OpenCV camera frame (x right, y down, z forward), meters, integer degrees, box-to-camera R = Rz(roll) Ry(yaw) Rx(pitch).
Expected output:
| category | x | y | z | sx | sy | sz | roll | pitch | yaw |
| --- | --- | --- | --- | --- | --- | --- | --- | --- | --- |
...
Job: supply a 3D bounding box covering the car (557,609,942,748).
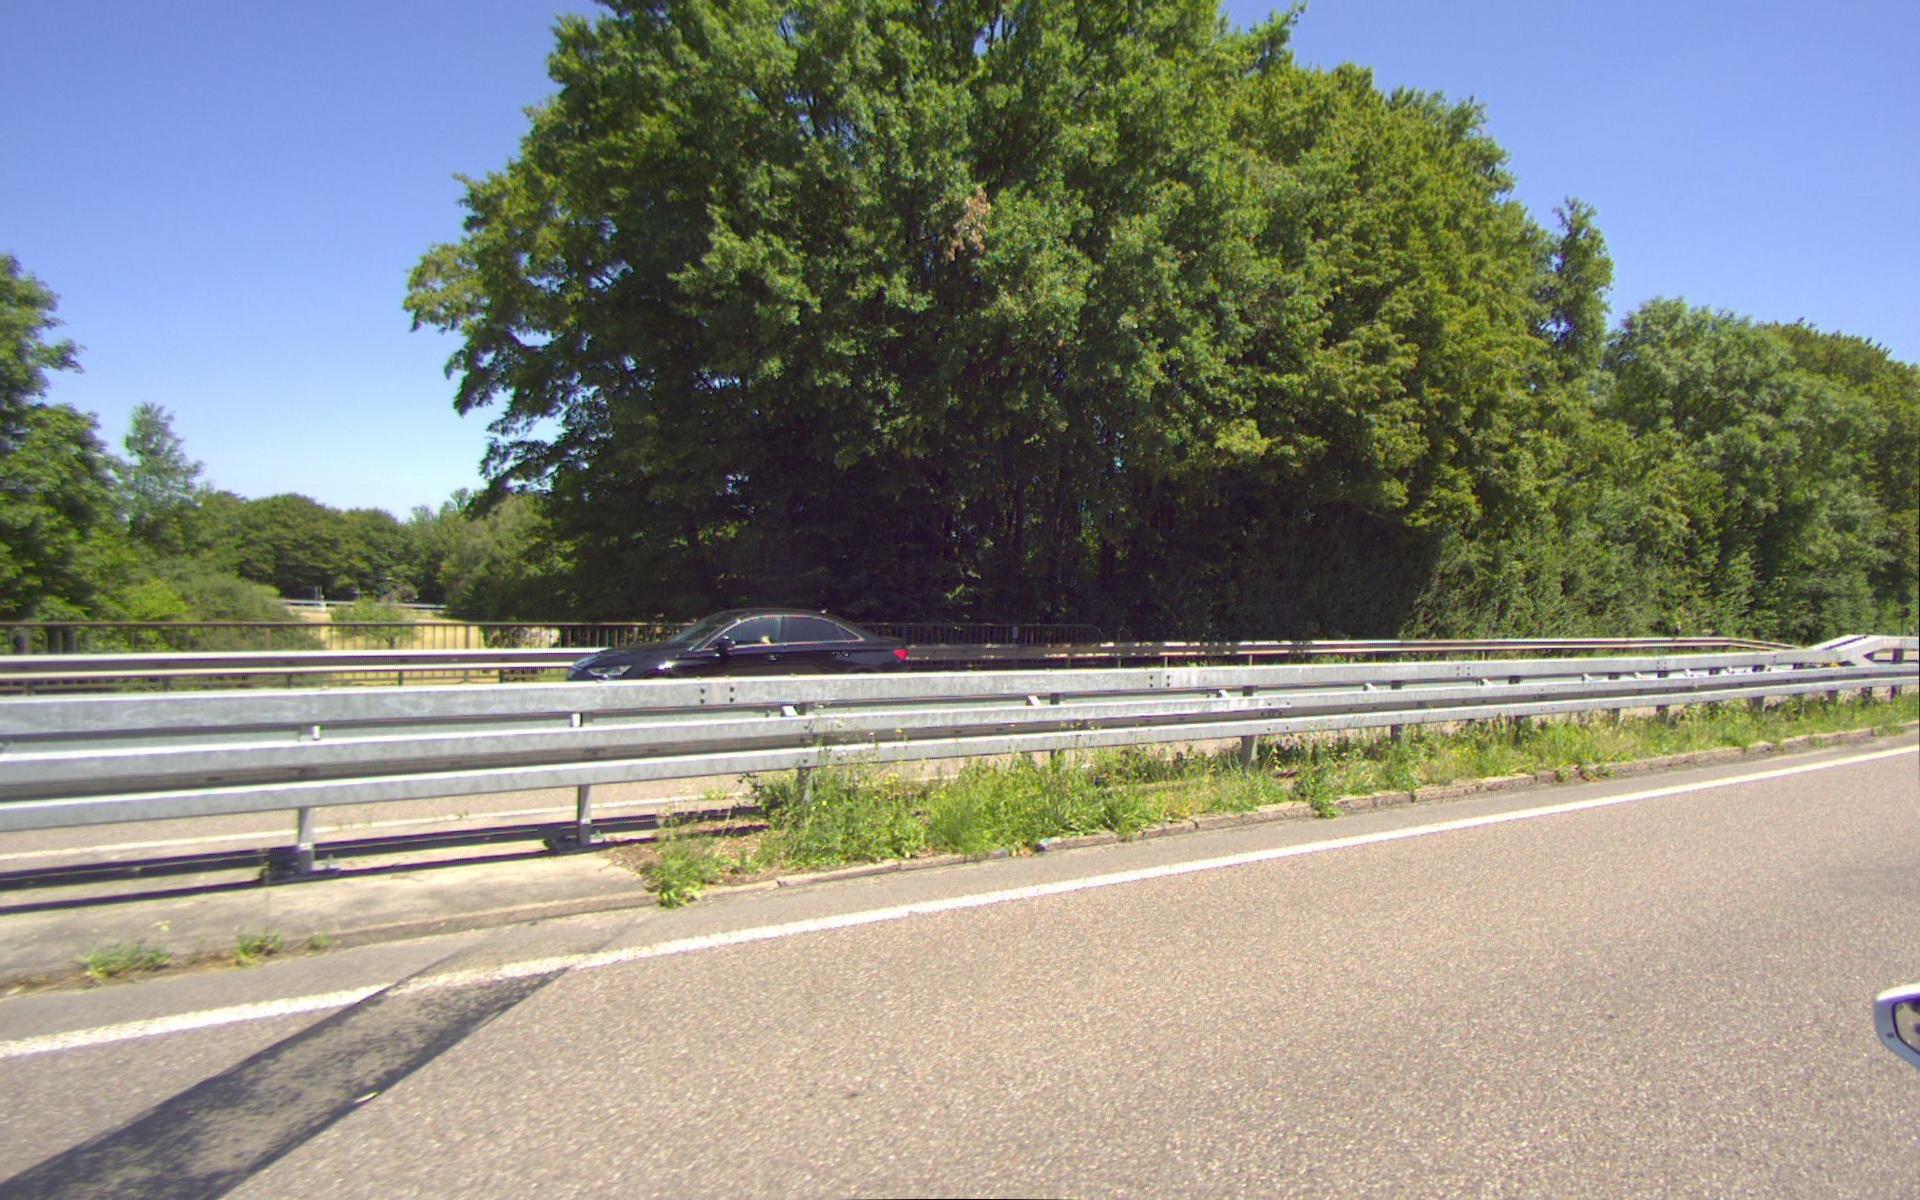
| category | x | y | z | sx | sy | sz | roll | pitch | yaw |
| --- | --- | --- | --- | --- | --- | --- | --- | --- | --- |
| car | -2.668 | 0.903 | 13.058 | 4.626 | 1.549 | 1.748 | 1 | -1 | -29 |
